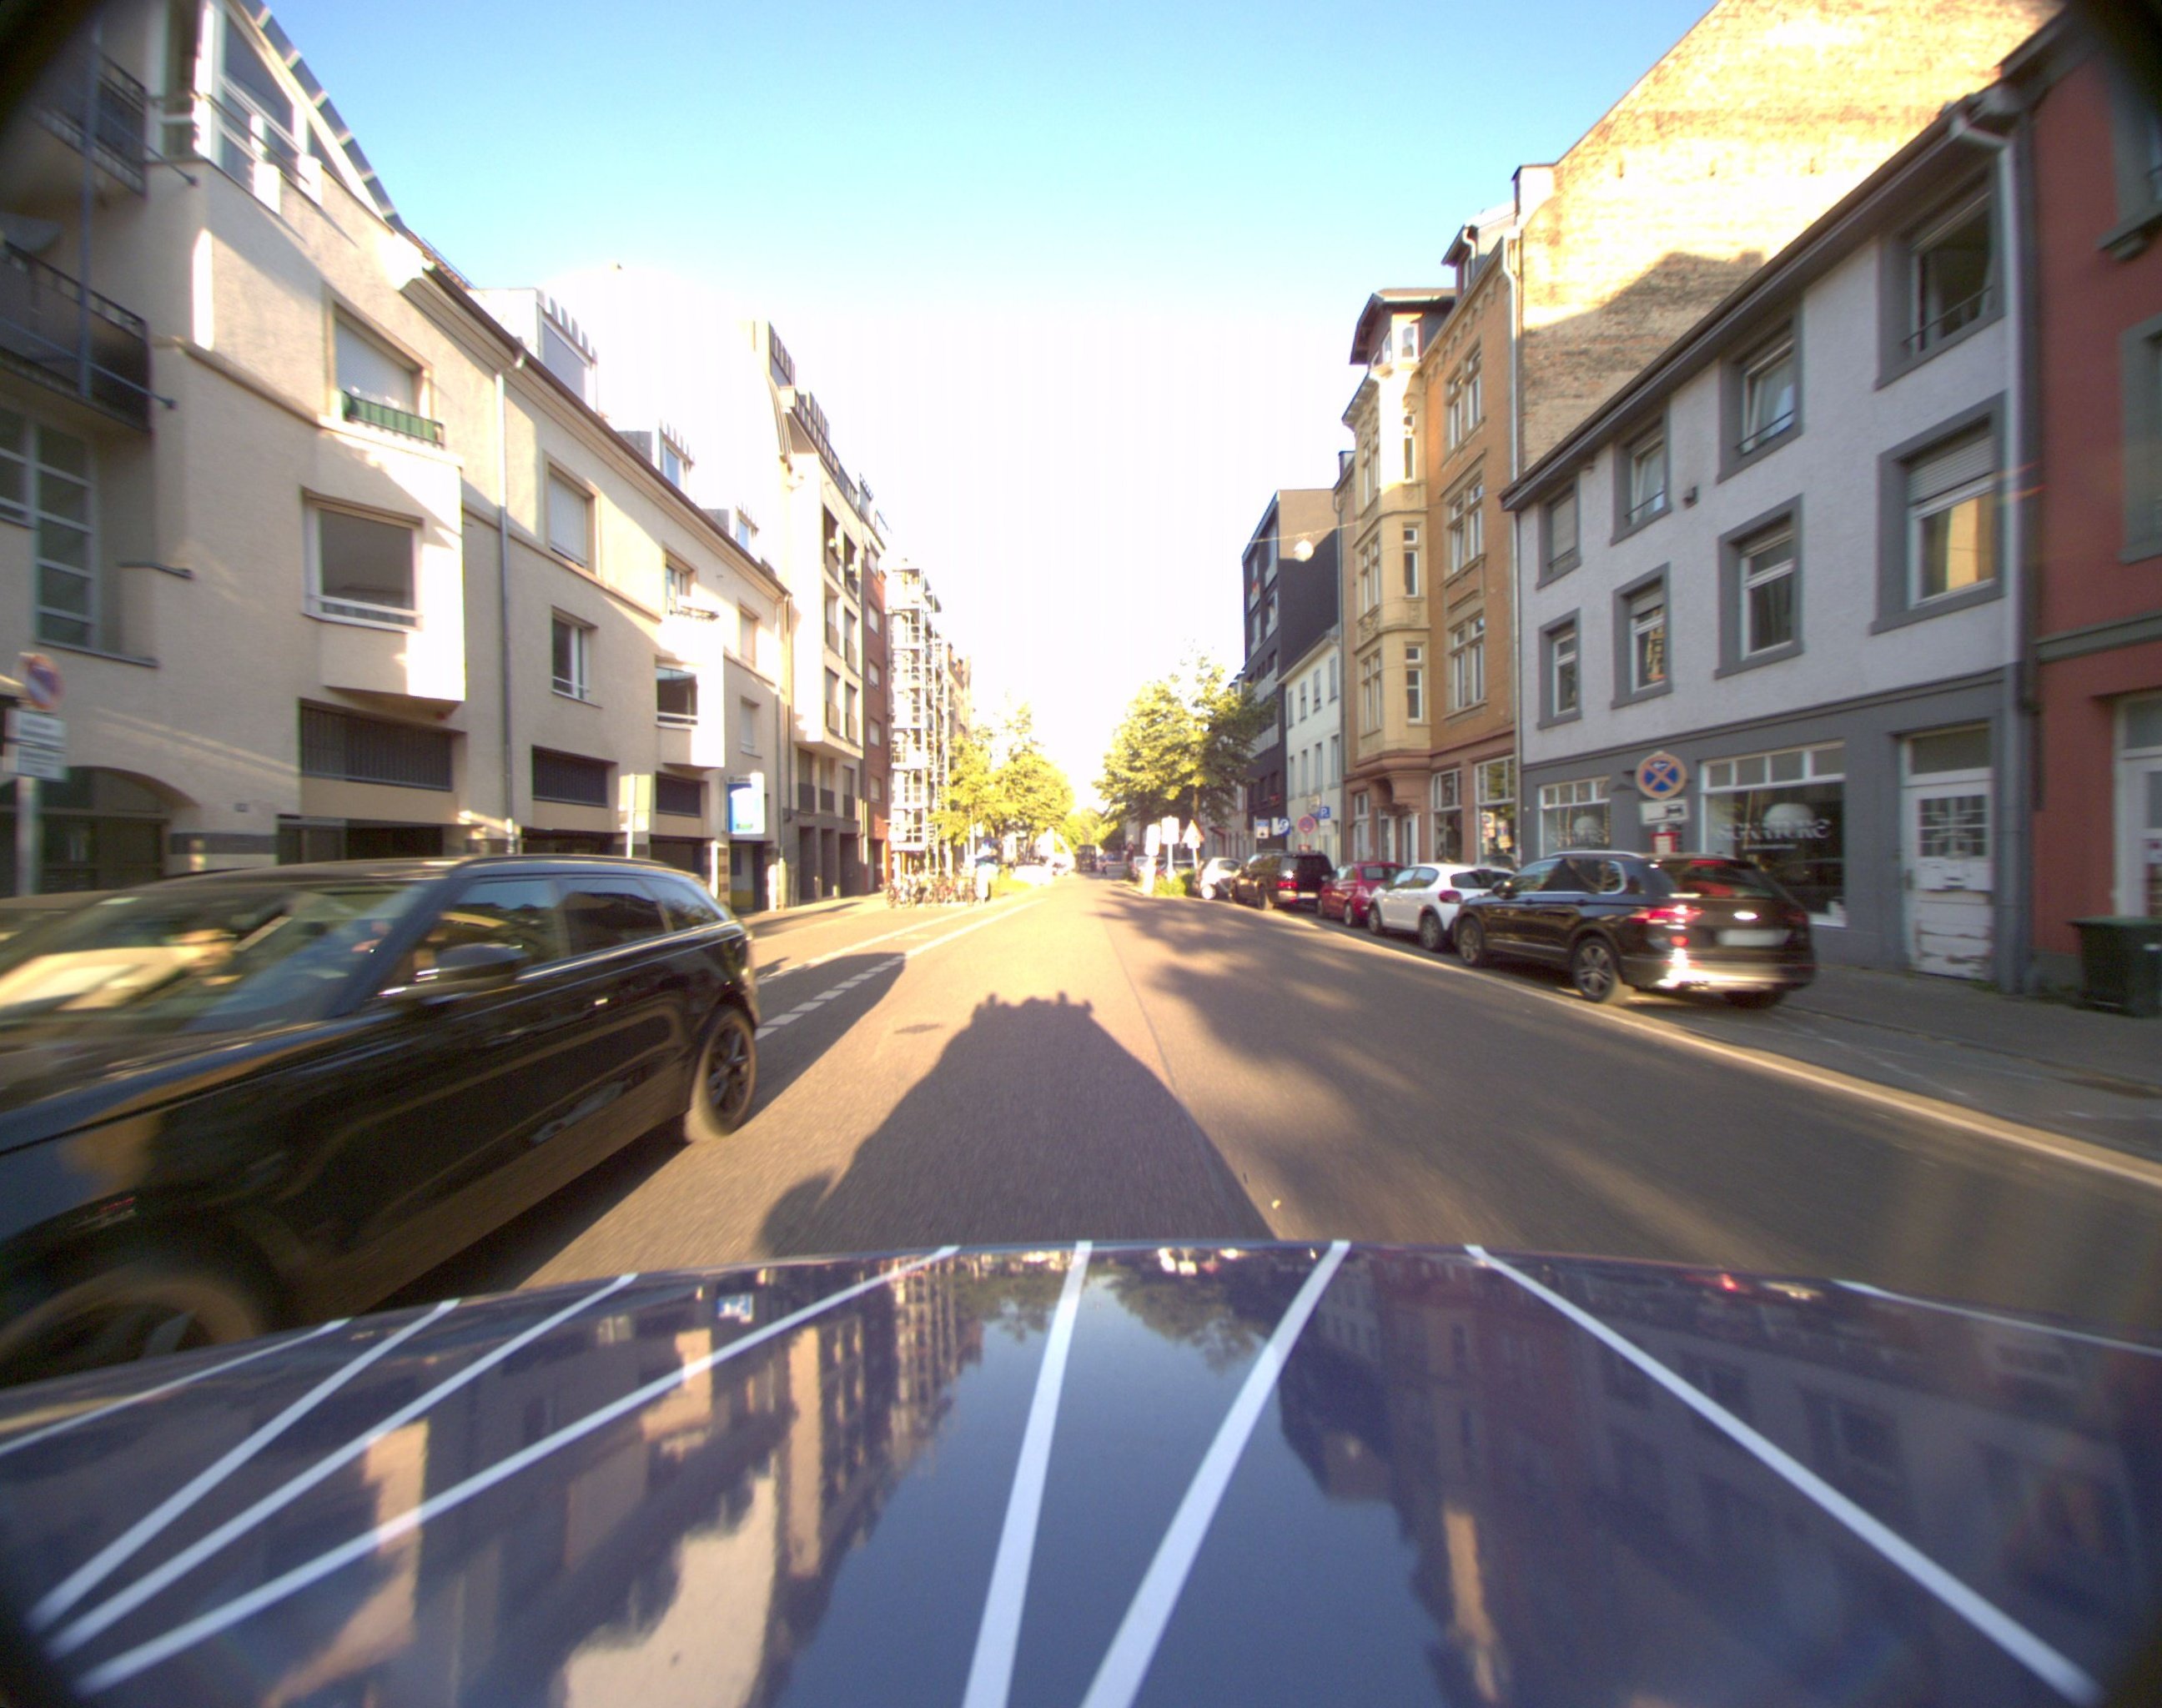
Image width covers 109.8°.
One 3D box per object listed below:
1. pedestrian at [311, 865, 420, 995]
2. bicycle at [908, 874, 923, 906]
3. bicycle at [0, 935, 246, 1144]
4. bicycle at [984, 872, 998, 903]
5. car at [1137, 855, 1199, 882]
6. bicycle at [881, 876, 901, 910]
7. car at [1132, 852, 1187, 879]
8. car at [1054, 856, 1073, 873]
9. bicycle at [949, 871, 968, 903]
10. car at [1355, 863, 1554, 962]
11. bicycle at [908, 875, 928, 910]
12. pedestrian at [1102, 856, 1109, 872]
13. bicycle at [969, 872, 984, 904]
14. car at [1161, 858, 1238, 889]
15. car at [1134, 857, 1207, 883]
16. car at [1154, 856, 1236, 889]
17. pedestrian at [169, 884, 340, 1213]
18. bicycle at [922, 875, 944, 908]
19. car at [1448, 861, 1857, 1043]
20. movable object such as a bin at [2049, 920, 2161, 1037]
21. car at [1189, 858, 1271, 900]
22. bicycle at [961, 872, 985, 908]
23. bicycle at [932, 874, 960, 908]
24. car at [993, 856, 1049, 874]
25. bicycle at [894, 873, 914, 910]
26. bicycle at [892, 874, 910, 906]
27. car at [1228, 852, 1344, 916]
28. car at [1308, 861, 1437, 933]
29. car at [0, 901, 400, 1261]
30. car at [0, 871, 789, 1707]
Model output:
[{"bbox_3d":[-9.505,0.985,10.119,0.605,1.637,0.813,-1,1,5],"label":"pedestrian"},{"bbox_3d":[-6.036,1.306,27.759,0.383,1.094,1.522,-1,0,-6],"label":"bicycle"},{"bbox_3d":[-7.390,1.313,5.640,0.398,1.227,1.825,0,0,-2],"label":"bicycle"},{"bbox_3d":[-3.303,1.219,27.997,0.383,1.094,1.522,-1,1,-2],"label":"bicycle"},{"bbox_3d":[5.574,0.928,49.026,3.834,1.576,1.741,-2,1,3],"label":"car"},{"bbox_3d":[-6.608,1.328,26.492,0.383,1.094,1.522,-1,1,-3],"label":"bicycle"},{"bbox_3d":[5.584,0.786,54.057,3.819,1.839,1.700,-1,0,4],"label":"car"},{"bbox_3d":[-1.866,1.098,80.617,1.709,1.575,3.679,-1,1,3],"label":"car"},{"bbox_3d":[-4.498,1.202,27.878,0.383,1.094,1.520,-1,0,-20],"label":"bicycle"},{"bbox_3d":[6.613,0.950,13.981,1.778,1.506,3.950,1,0,1],"label":"car"},{"bbox_3d":[-5.598,1.311,26.149,0.383,1.094,1.522,-1,1,-3],"label":"bicycle"},{"bbox_3d":[2.455,1.007,76.201,0.672,1.585,0.468,-1,1,0],"label":"pedestrian"},{"bbox_3d":[-3.810,1.226,27.859,0.383,1.094,1.523,-1,0,-2],"label":"bicycle"},{"bbox_3d":[5.555,0.906,35.934,3.404,1.384,1.687,-2,0,3],"label":"car"},{"bbox_3d":[5.459,0.980,46.786,4.219,1.507,1.762,-1,0,-3],"label":"car"},{"bbox_3d":[5.716,0.920,38.429,3.902,1.508,1.857,-2,0,1],"label":"car"},{"bbox_3d":[-4.561,1.011,4.229,0.443,1.655,0.564,0,1,-24],"label":"pedestrian"},{"bbox_3d":[-5.152,1.290,26.489,0.382,1.094,1.565,-1,0,2],"label":"bicycle"},{"bbox_3d":[6.332,0.928,9.182,1.778,1.623,4.238,1,0,1],"label":"car"},{"bbox_3d":[9.811,1.156,7.199,0.431,0.984,0.671,-1,1,1],"label":"movable object such as a bin"},{"bbox_3d":[5.509,0.924,28.302,2.701,1.511,1.571,1,-1,-3],"label":"car"},{"bbox_3d":[-3.714,1.221,26.252,0.363,1.134,1.566,-1,1,9],"label":"bicycle"},{"bbox_3d":[-4.646,1.255,26.242,0.371,1.101,1.524,-1,0,12],"label":"bicycle"},{"bbox_3d":[-5.051,0.923,64.613,4.538,1.502,1.912,0,-1,0],"label":"car"},{"bbox_3d":[-6.100,1.268,26.270,0.383,1.182,1.522,-2,1,-3],"label":"bicycle"},{"bbox_3d":[-6.646,1.314,28.066,0.383,1.094,1.522,-1,0,-3],"label":"bicycle"},{"bbox_3d":[5.951,0.798,22.683,1.910,1.718,4.700,0,0,-4],"label":"car"},{"bbox_3d":[6.802,0.938,18.104,1.778,1.506,3.484,1,0,1],"label":"car"},{"bbox_3d":[-5.871,1.122,4.301,1.637,1.544,2.694,0,0,-2],"label":"car"},{"bbox_3d":[-3.076,0.991,2.875,2.000,1.645,4.674,-3,0,1],"label":"car"}]
